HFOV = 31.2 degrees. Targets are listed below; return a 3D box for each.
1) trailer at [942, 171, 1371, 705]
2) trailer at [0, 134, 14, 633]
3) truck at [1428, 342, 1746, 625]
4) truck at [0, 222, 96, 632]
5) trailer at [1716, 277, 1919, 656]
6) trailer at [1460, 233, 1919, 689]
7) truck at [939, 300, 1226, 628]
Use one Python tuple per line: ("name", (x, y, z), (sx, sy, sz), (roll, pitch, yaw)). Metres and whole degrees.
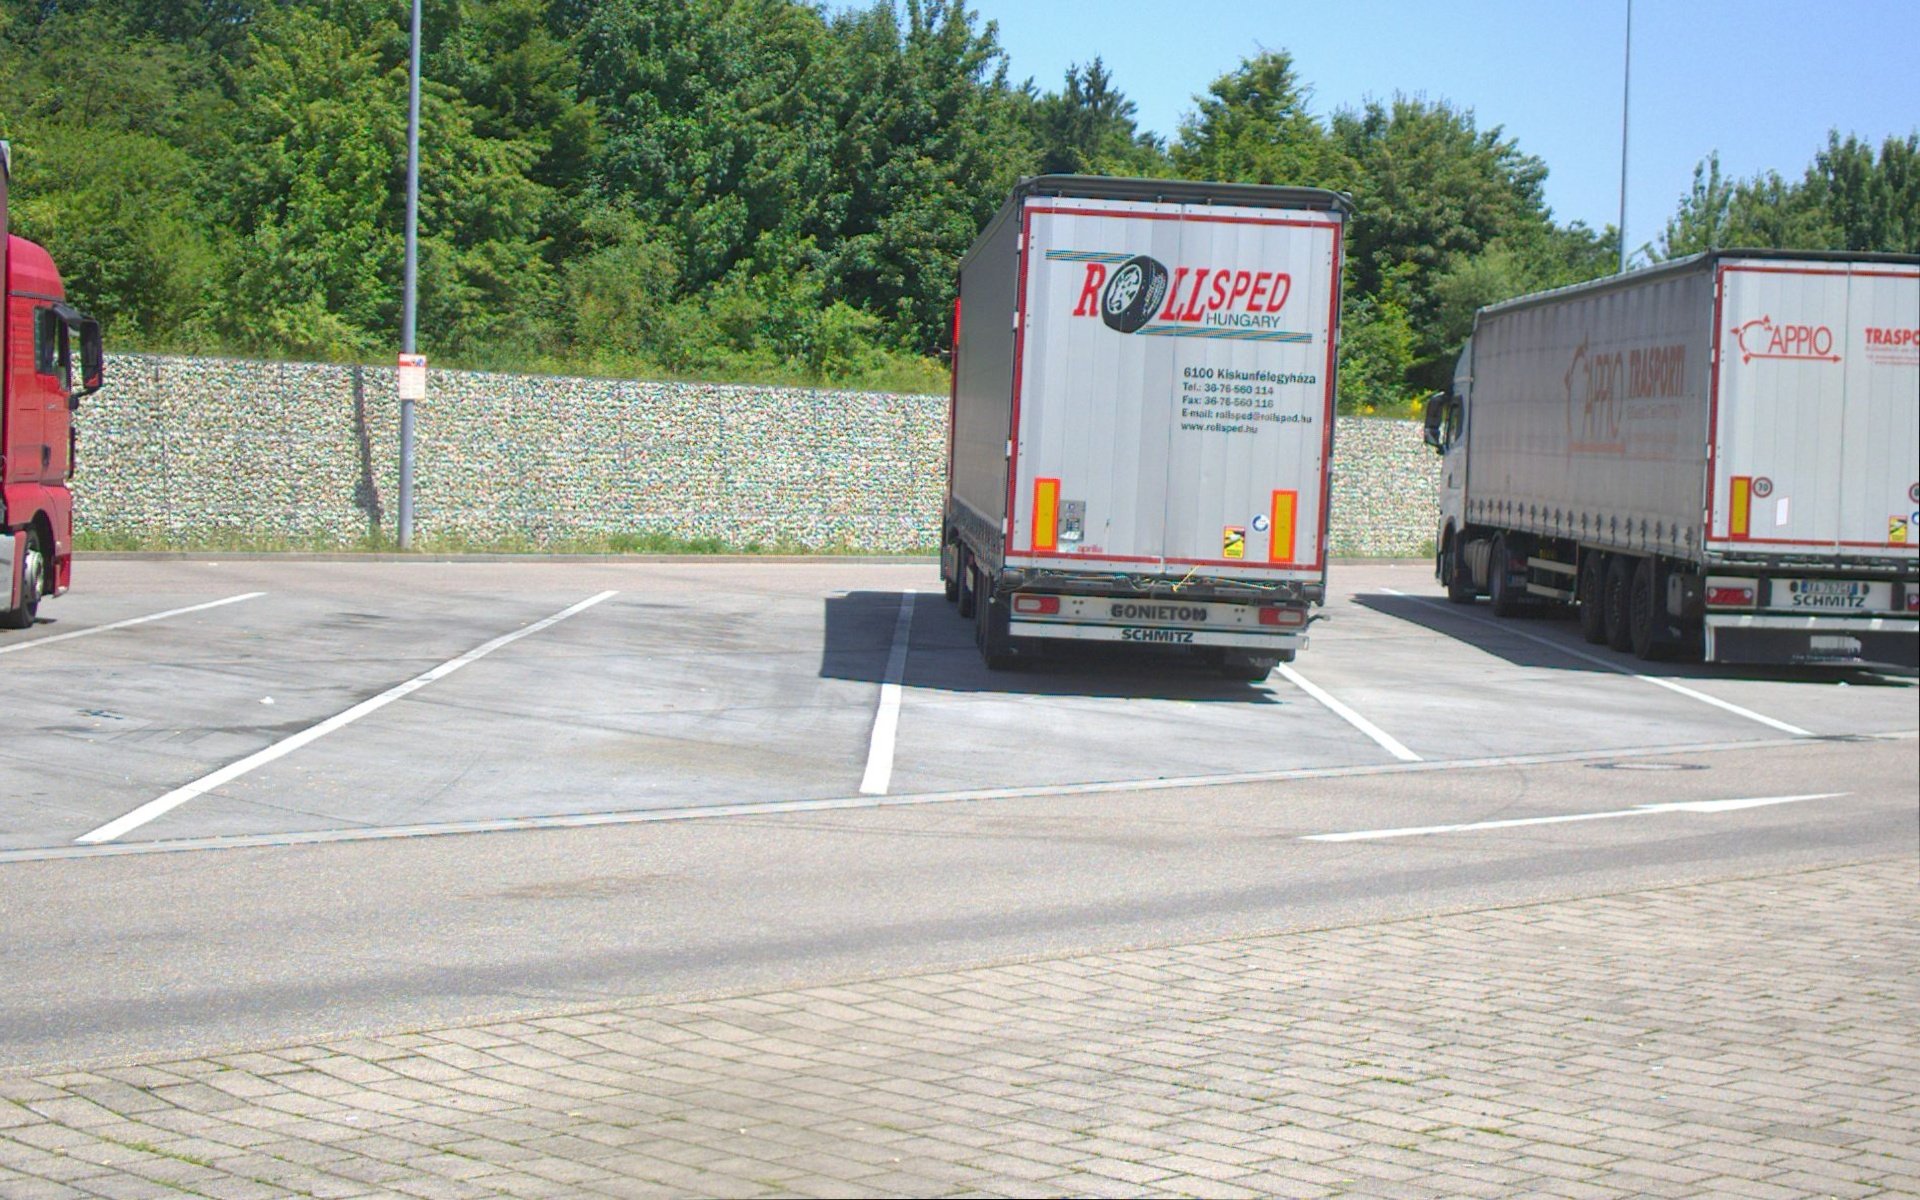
("trailer", (1.460, -1.571, 33.100), (2.858, 3.958, 13.765), (2, 3, -1))
("trailer", (-9.163, -1.467, 21.359), (2.821, 4.057, 13.765), (2, 3, -1))
("truck", (8.088, -1.573, 45.120), (2.865, 3.351, 5.975), (2, 3, -1))
("truck", (-9.250, -1.457, 28.179), (2.812, 3.351, 5.975), (2, 3, -1))
("trailer", (11.787, -1.508, 39.366), (2.858, 4.095, 13.765), (2, 3, -1))
("trailer", (8.189, -1.592, 38.354), (2.858, 4.095, 13.765), (2, 3, -1))
("truck", (1.277, -1.576, 39.302), (2.865, 3.351, 5.975), (2, 3, -1))
